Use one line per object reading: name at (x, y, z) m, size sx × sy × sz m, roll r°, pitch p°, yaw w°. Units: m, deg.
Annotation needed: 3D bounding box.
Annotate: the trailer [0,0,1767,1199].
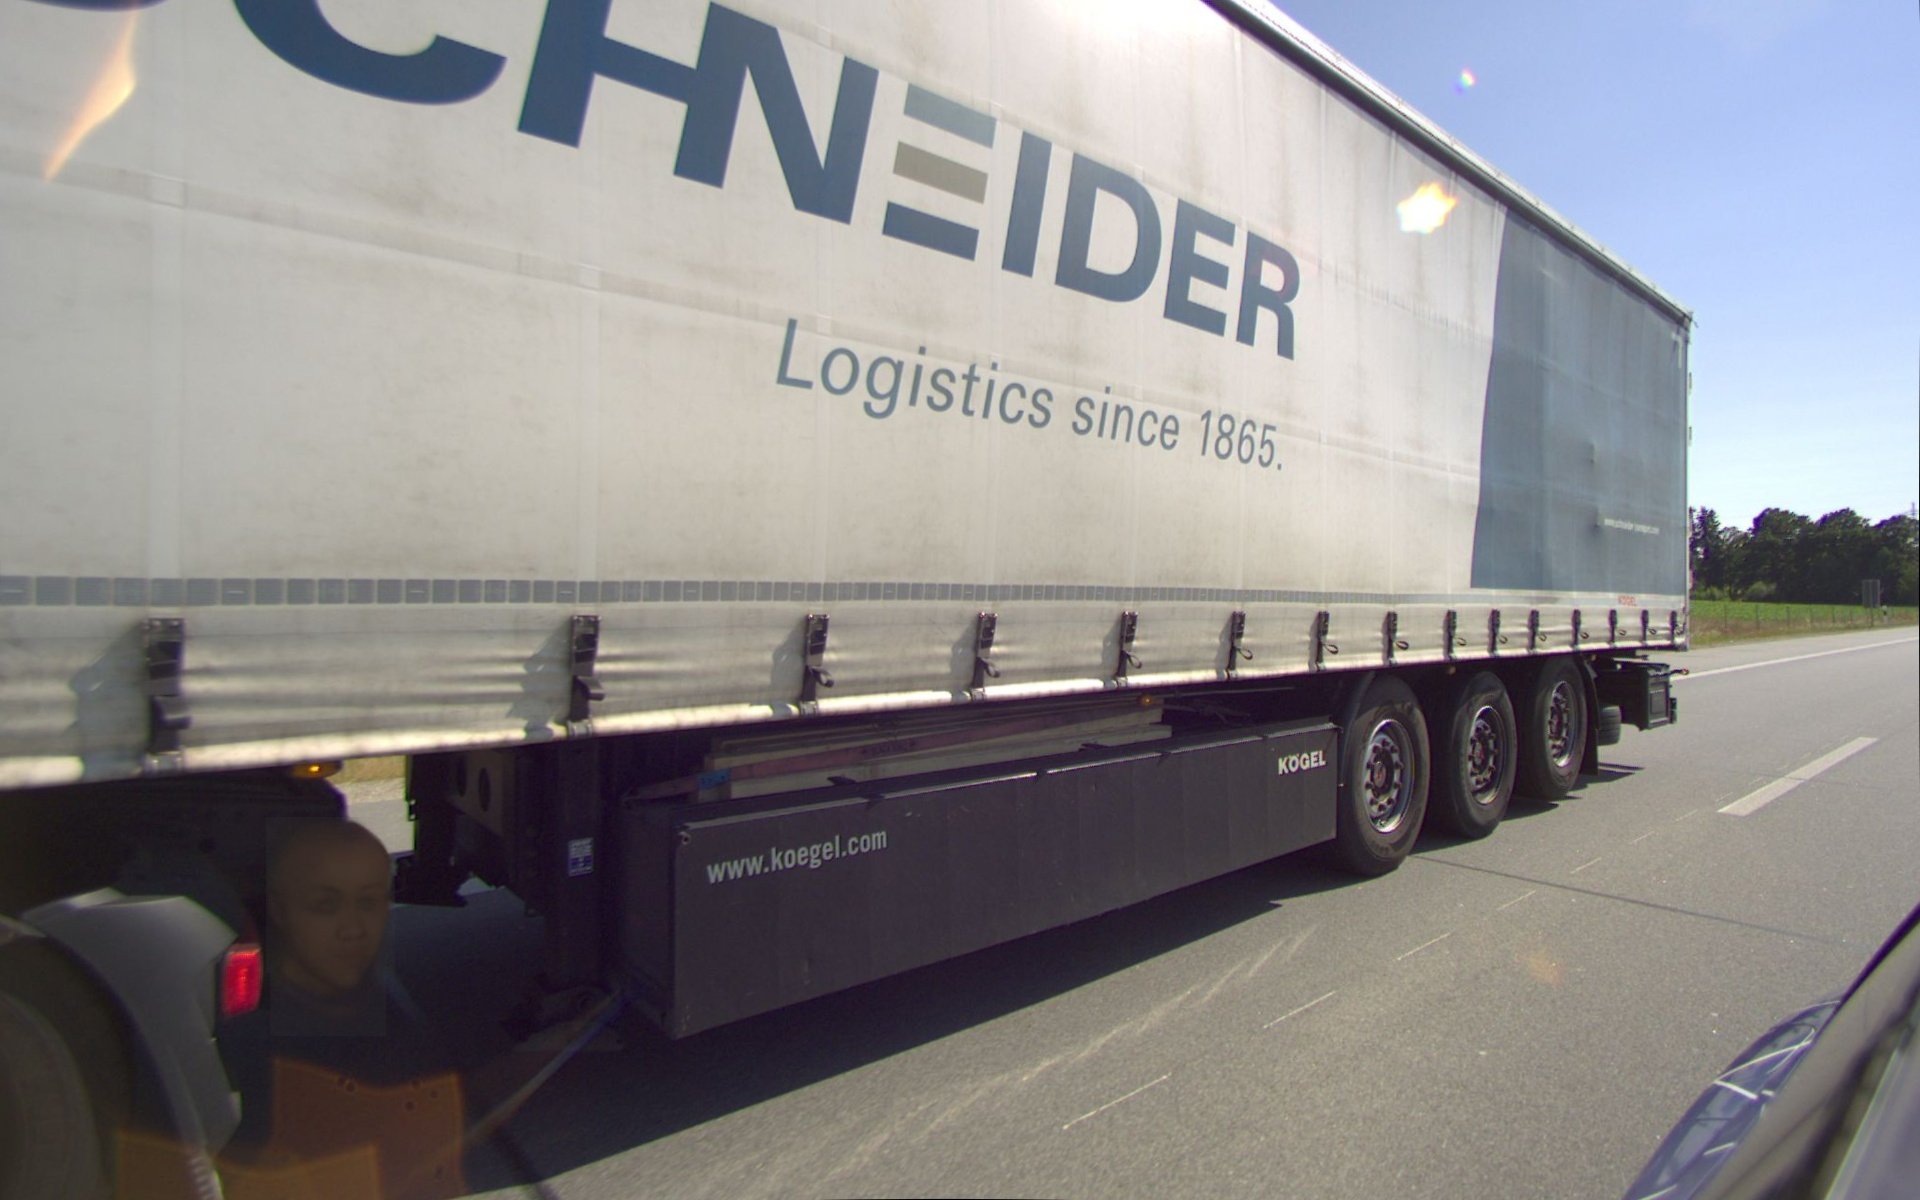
trailer at (1.397, -0.855, 6.411) m, size 15.190 × 4.349 × 3.181 m, roll 0°, pitch 0°, yaw -41°
